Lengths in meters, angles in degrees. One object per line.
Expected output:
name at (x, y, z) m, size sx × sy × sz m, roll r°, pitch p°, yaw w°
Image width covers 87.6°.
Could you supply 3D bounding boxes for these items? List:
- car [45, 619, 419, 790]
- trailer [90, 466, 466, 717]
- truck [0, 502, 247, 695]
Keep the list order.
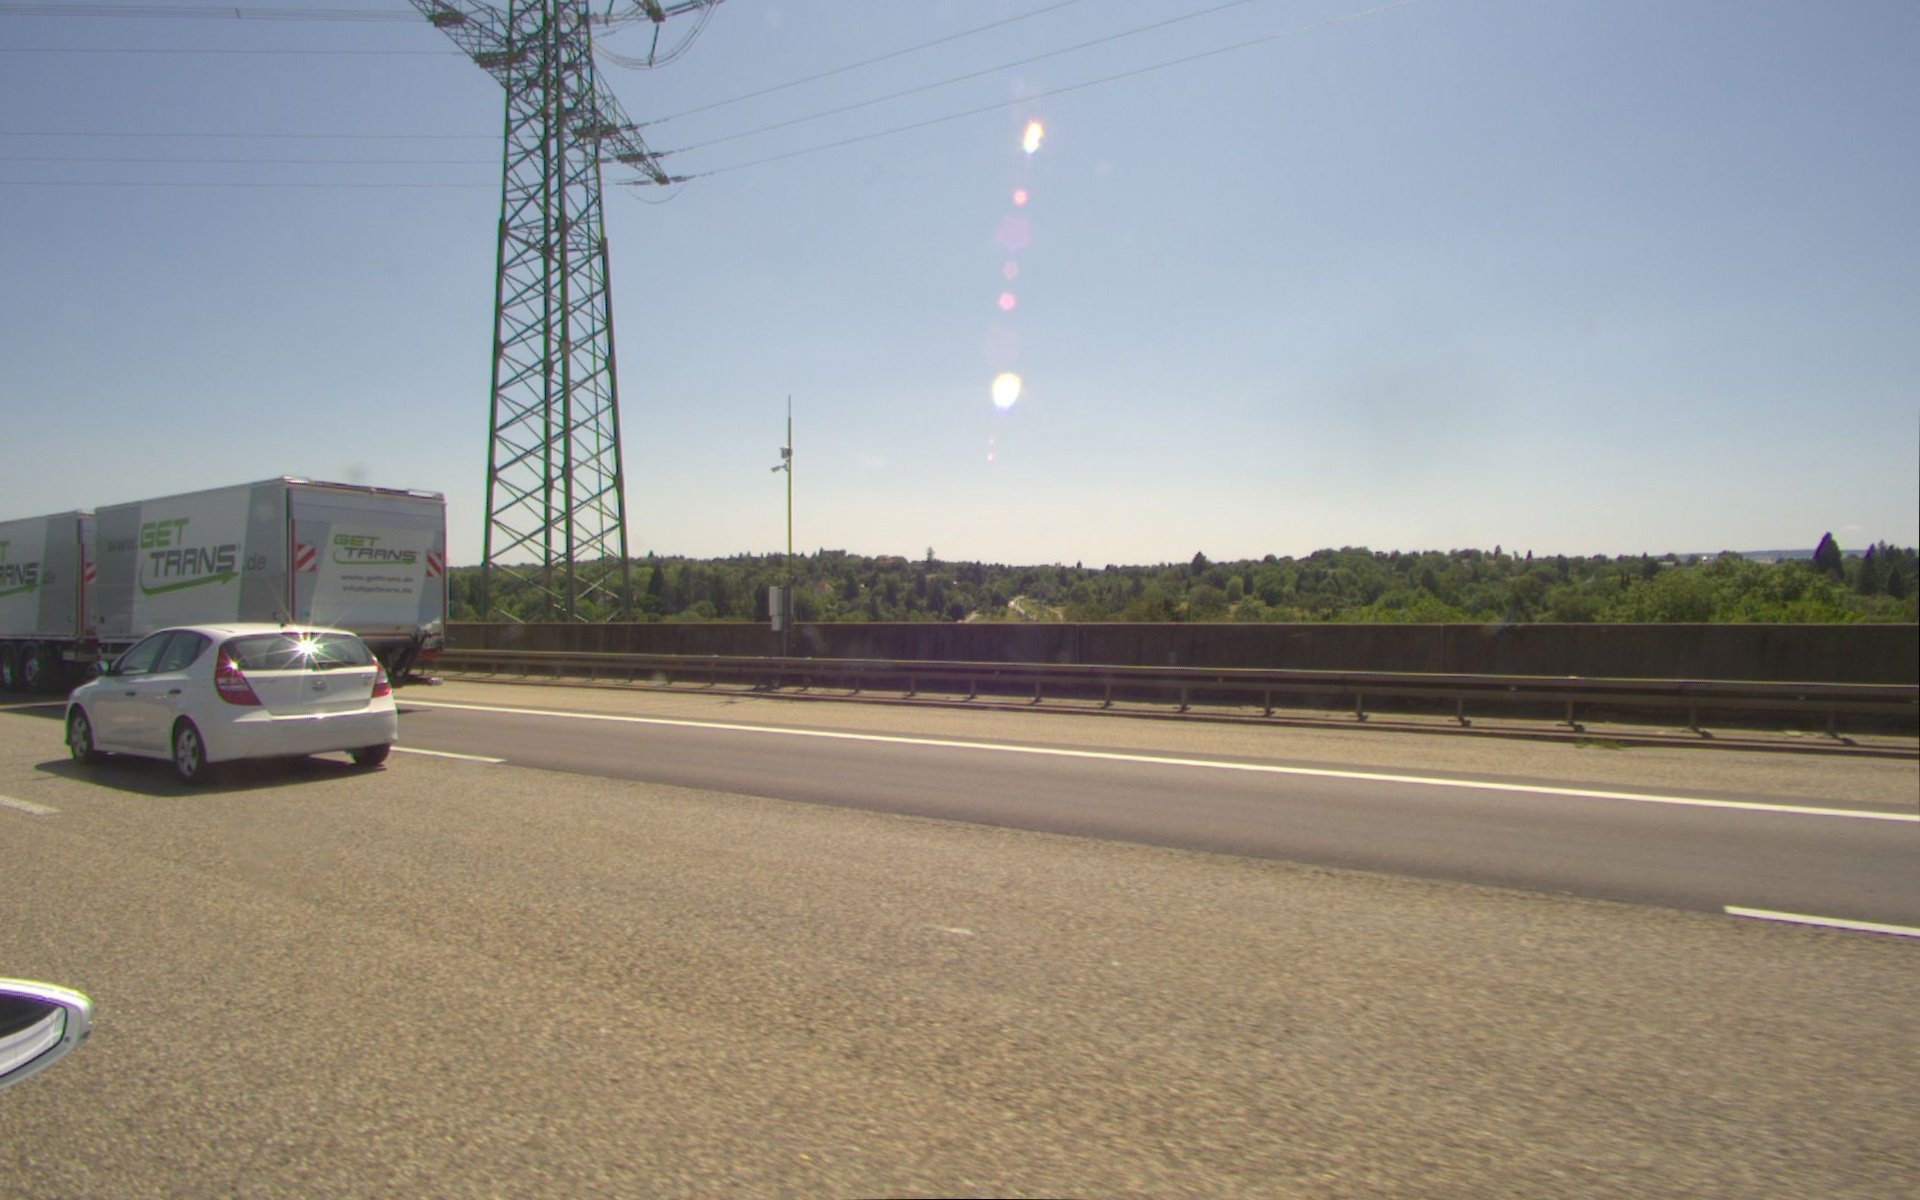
car at (-7.796, 0.951, 10.630) m, size 4.231 × 1.474 × 1.785 m, roll 0°, pitch -1°, yaw 32°
trailer at (-12.592, -0.086, 18.230) m, size 7.898 × 3.749 × 2.693 m, roll 0°, pitch 0°, yaw 32°
truck at (-20.560, 0.026, 23.176) m, size 10.850 × 3.696 × 2.652 m, roll 0°, pitch 0°, yaw 32°
